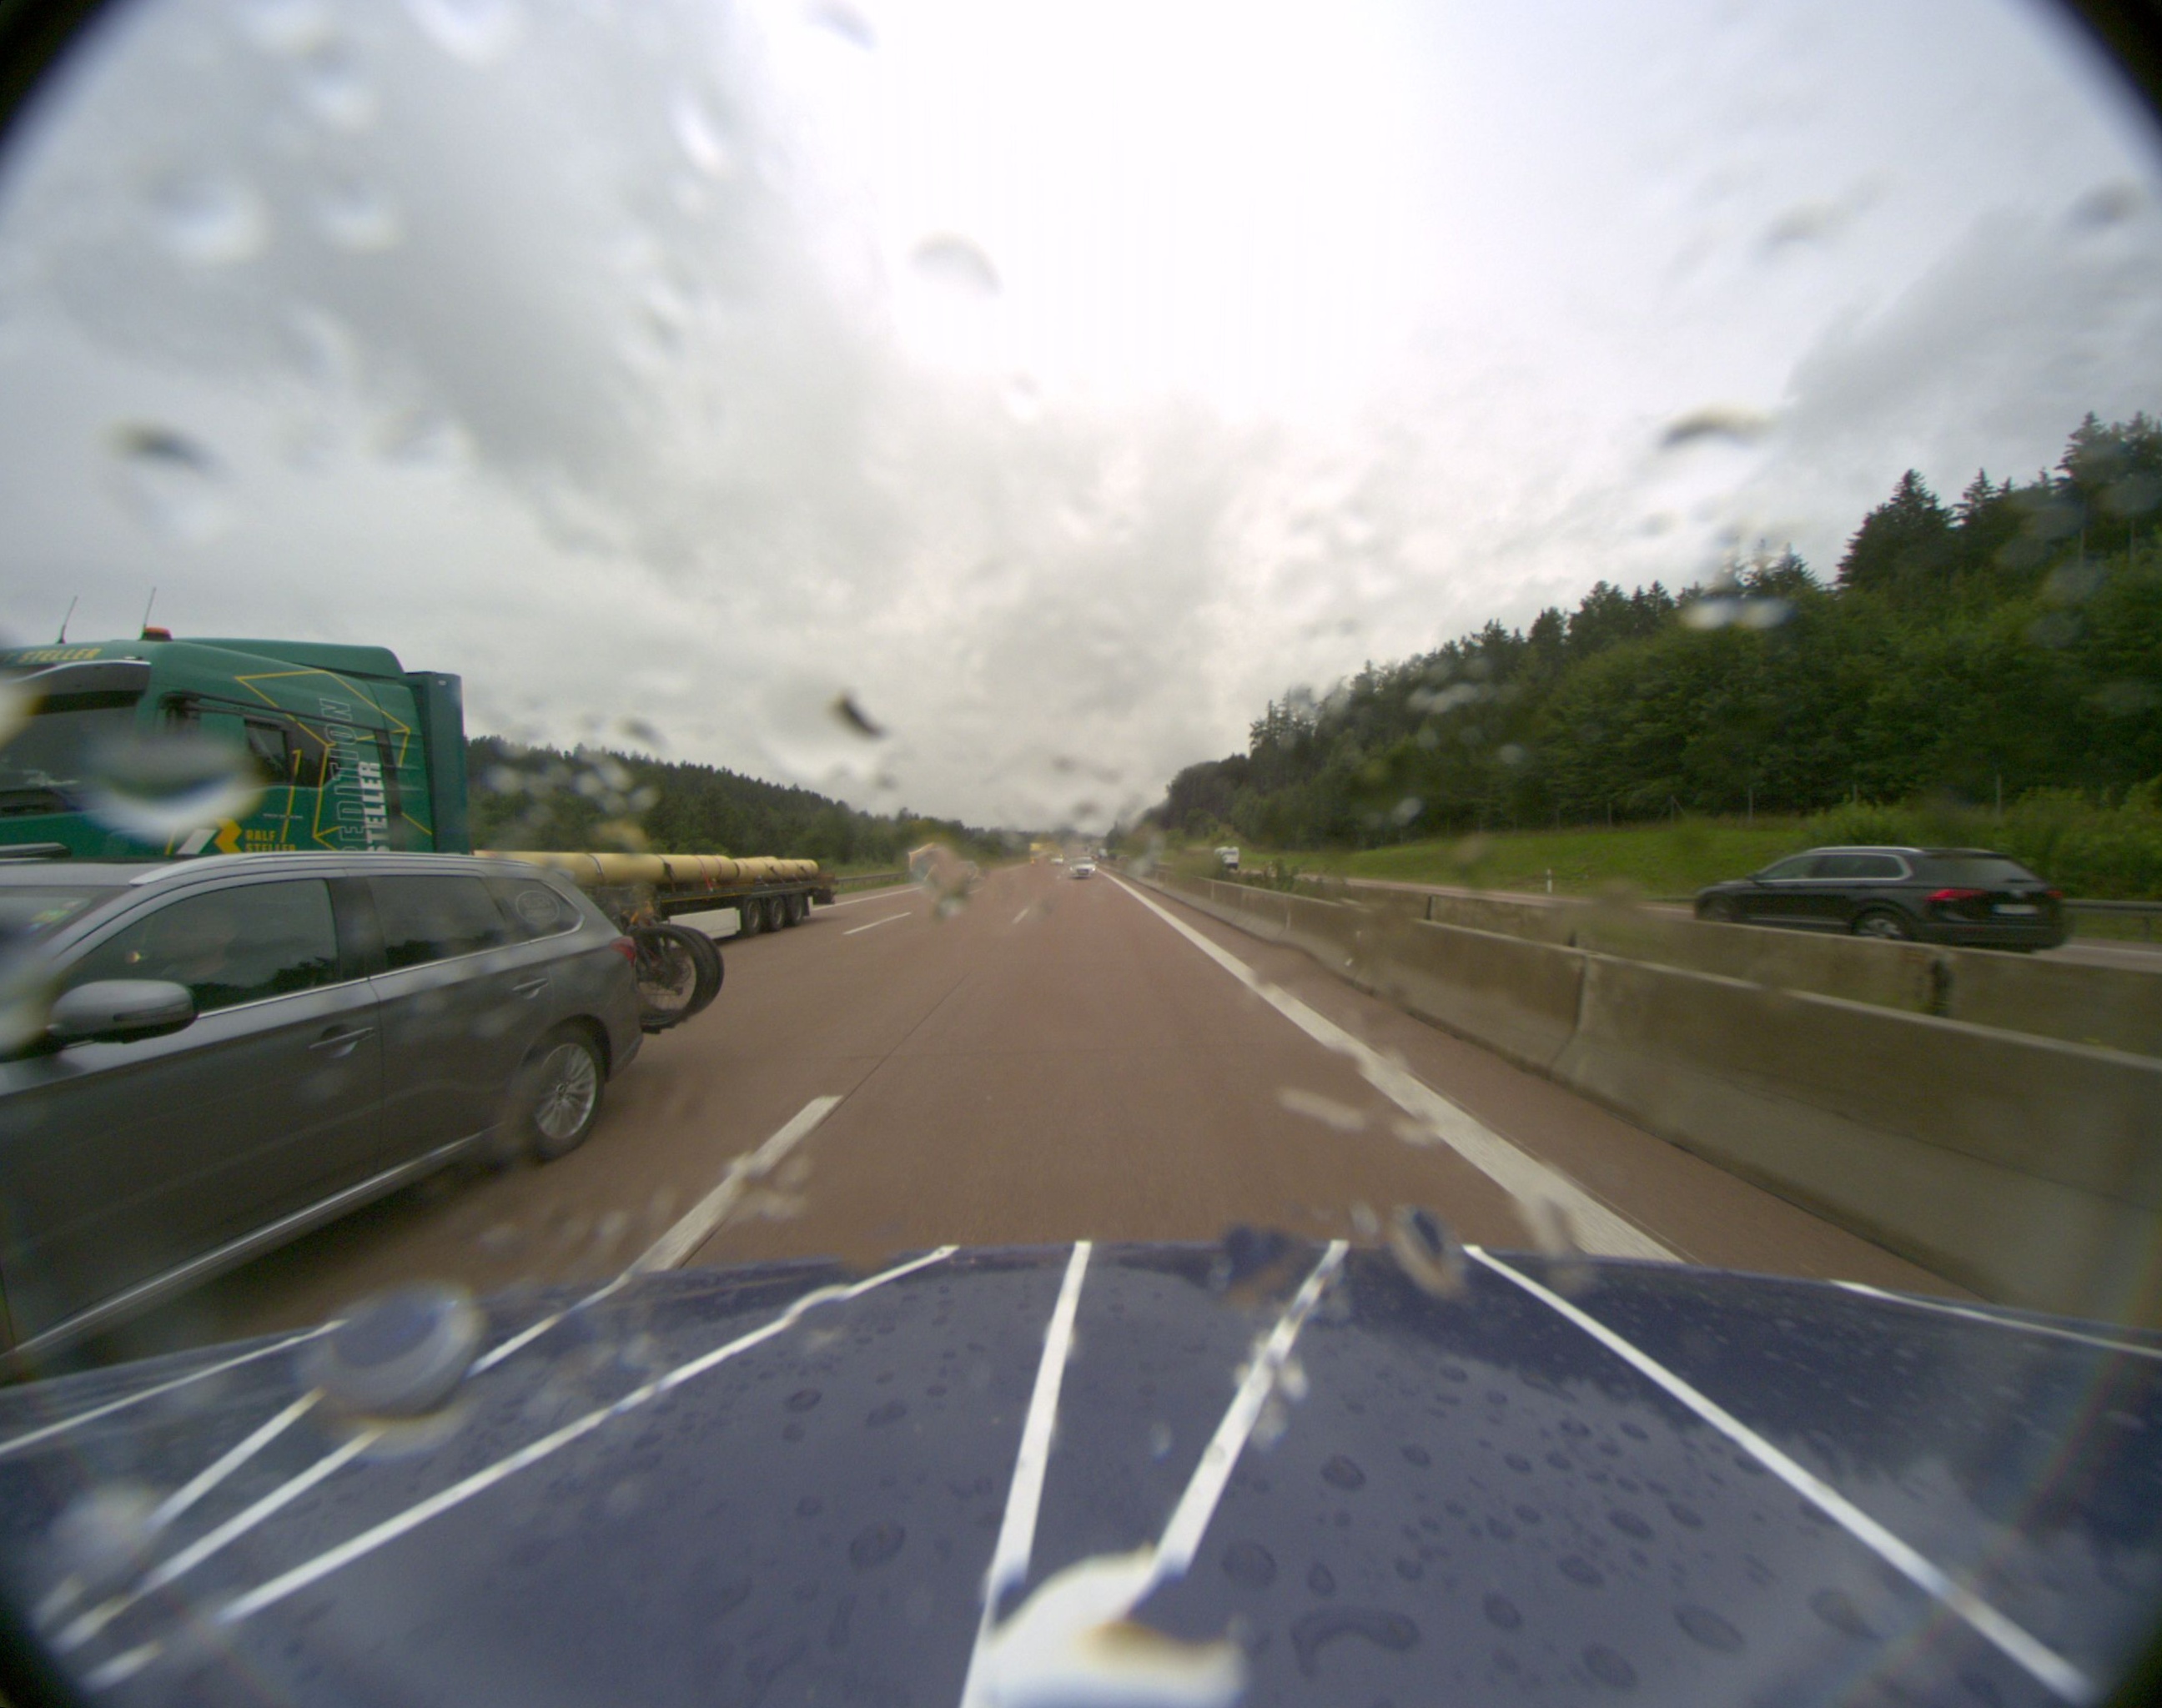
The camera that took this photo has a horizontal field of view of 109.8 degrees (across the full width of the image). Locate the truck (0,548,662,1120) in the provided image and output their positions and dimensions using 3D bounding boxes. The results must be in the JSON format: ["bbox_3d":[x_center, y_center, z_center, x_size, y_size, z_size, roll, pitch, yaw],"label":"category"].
[{"bbox_3d":[-8.301,-0.160,8.758,2.904,3.942,6.986,-2,2,-1],"label":"truck"}]

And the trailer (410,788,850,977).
[{"bbox_3d":[-8.343,0.285,16.849,2.888,2.660,11.394,-2,1,0],"label":"trailer"}]

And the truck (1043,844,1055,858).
[{"bbox_3d":[-10.231,-1.074,247.023,3.190,4.349,14.699,-2,1,0],"label":"truck"}]

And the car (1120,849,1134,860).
[{"bbox_3d":[8.234,0.047,136.507,1.999,2.002,5.525,-1,0,-1],"label":"car"}]

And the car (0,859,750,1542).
[{"bbox_3d":[-3.730,0.943,3.209,1.998,1.584,5.818,-2,1,1],"label":"car"}]

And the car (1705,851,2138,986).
[{"bbox_3d":[12.037,0.779,11.445,1.720,1.573,4.315,0,1,0],"label":"car"}]

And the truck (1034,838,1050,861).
[{"bbox_3d":[-7.305,-0.866,142.492,2.610,4.190,6.248,-2,2,0],"label":"truck"}]

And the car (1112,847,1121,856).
[{"bbox_3d":[10.190,-0.736,220.785,2.108,2.266,5.393,-2,2,-1],"label":"car"}]

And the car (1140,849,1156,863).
[{"bbox_3d":[9.500,0.259,107.739,1.998,1.816,4.686,-1,0,1],"label":"car"}]

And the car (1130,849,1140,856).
[{"bbox_3d":[12.457,-0.456,176.406,1.793,1.548,4.864,1,0,-1],"label":"car"}]

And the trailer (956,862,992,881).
[{"bbox_3d":[-7.656,1.258,54.755,1.976,1.159,4.638,-2,0,-1],"label":"trailer"}]

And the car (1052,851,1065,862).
[{"bbox_3d":[-3.693,0.464,126.528,1.999,1.623,4.929,-2,1,0],"label":"car"}]

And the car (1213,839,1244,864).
[{"bbox_3d":[16.377,-0.288,84.896,2.229,2.570,6.253,-2,2,1],"label":"car"}]

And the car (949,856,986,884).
[{"bbox_3d":[-7.430,1.034,50.121,1.702,1.602,4.975,-1,1,-1],"label":"car"}]

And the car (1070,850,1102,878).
[{"bbox_3d":[0.283,0.615,51.442,1.999,1.623,4.929,-2,1,0],"label":"car"}]

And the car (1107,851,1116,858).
[{"bbox_3d":[7.642,0.078,191.996,1.862,1.697,6.161,-2,1,-1],"label":"car"}]
